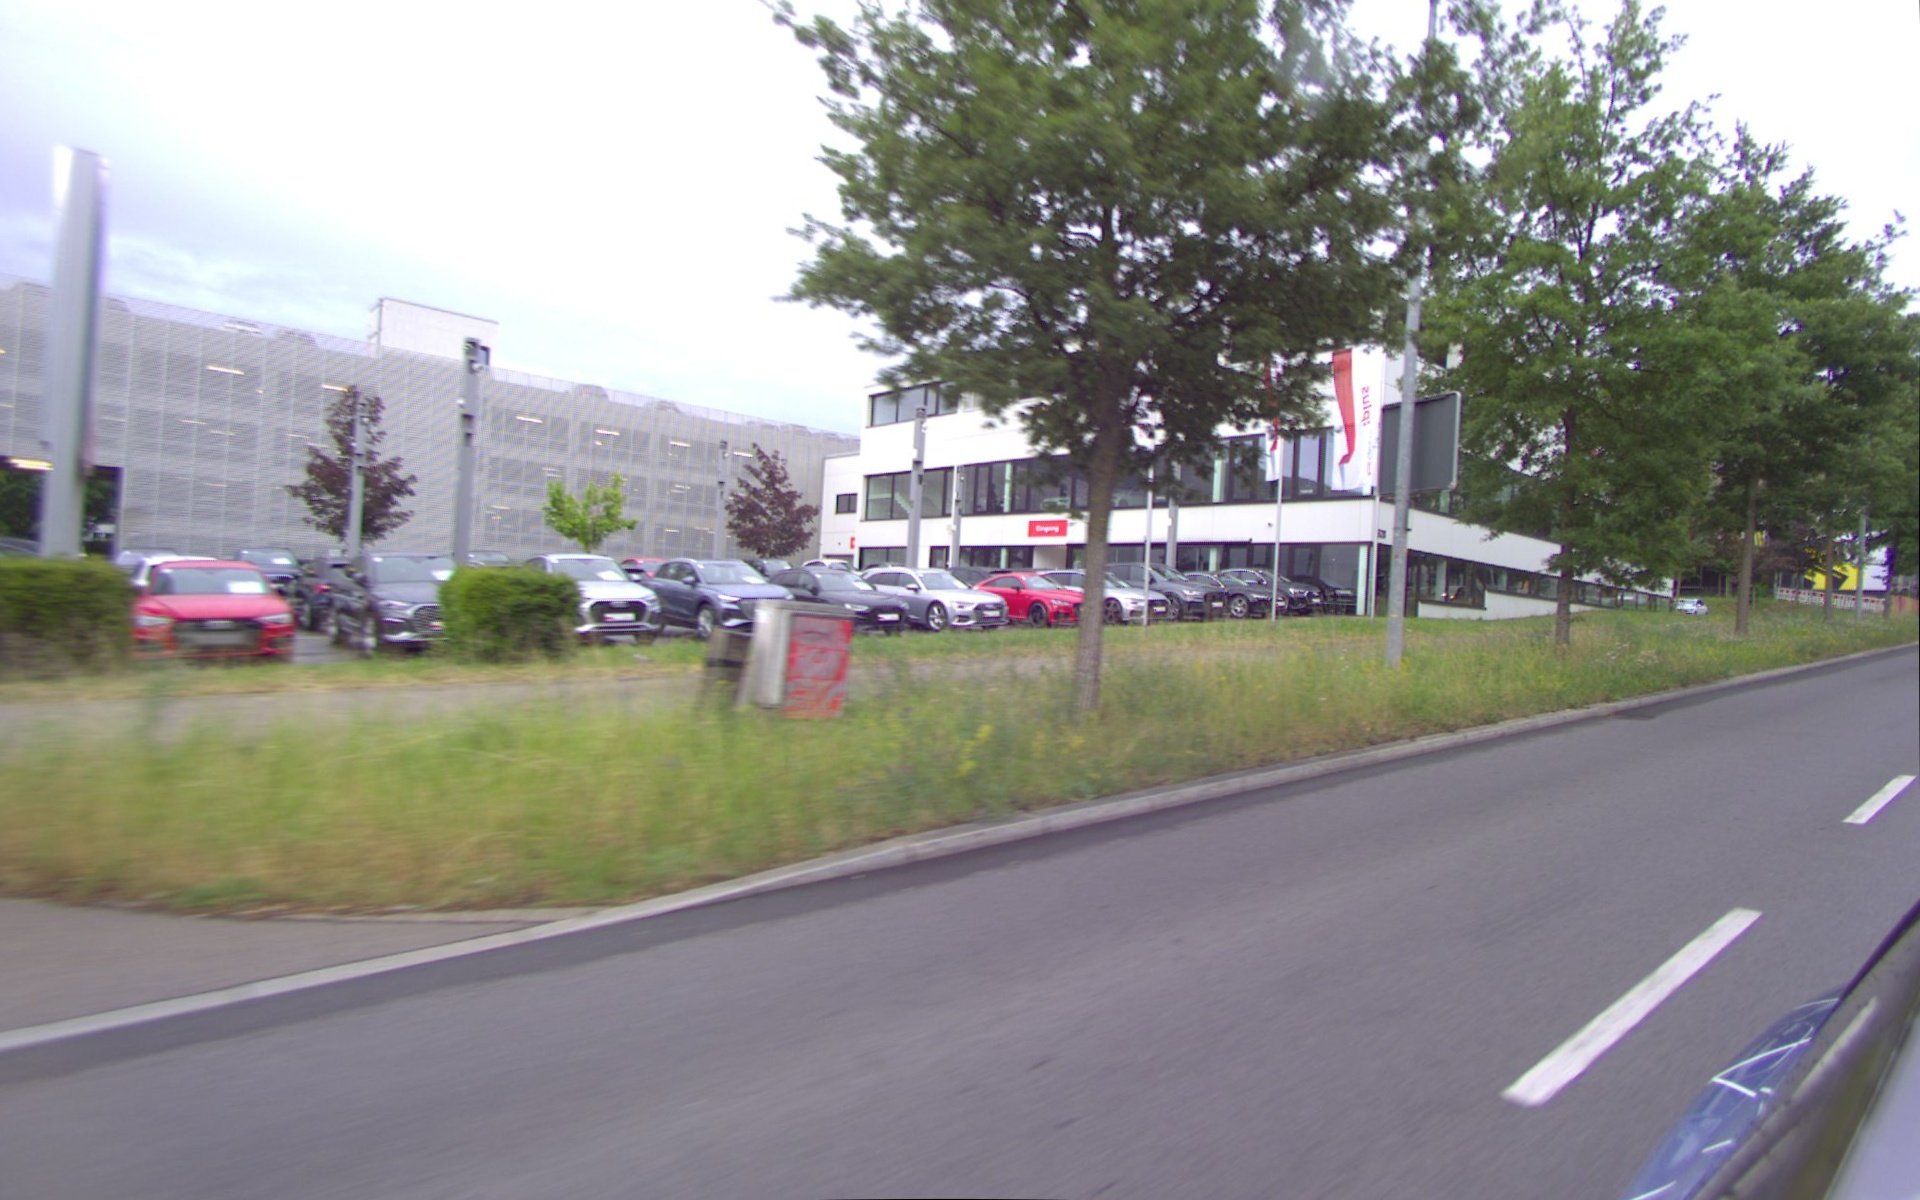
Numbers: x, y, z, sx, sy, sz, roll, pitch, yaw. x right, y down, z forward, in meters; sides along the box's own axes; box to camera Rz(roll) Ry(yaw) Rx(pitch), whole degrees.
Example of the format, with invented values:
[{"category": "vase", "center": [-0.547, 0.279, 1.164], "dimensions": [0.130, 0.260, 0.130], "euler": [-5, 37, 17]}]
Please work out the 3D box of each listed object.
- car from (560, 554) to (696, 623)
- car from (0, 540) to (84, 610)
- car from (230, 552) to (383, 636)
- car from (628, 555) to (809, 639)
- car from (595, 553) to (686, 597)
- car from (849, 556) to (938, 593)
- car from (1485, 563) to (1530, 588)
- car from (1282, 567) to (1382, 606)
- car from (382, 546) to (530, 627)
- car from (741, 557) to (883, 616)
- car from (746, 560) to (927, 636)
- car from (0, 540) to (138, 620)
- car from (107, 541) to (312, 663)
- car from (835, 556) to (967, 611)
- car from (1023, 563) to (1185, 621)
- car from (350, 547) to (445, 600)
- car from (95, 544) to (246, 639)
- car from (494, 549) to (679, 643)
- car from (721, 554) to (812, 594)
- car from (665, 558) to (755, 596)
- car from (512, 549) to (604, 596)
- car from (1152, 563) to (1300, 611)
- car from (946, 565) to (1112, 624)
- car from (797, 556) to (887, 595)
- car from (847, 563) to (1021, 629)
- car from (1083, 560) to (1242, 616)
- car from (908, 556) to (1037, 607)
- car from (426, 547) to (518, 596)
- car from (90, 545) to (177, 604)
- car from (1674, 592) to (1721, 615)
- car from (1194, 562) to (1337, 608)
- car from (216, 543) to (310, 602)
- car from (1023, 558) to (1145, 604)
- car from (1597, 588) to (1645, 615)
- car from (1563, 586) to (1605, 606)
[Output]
[{"category": "car", "center": [-8.386, -0.329, 25.331], "dimensions": [1.795, 1.570, 4.285], "euler": [-1, 2, -40]}, {"category": "car", "center": [-23.354, -0.614, 23.989], "dimensions": [1.749, 1.613, 3.542], "euler": [3, 2, 17]}, {"category": "car", "center": [-13.984, -0.206, 21.547], "dimensions": [1.900, 1.570, 4.465], "euler": [-1, 3, -44]}, {"category": "car", "center": [-5.173, -0.140, 21.261], "dimensions": [1.897, 1.547, 4.470], "euler": [-1, 3, -41]}, {"category": "car", "center": [-12.542, -0.985, 39.572], "dimensions": [1.796, 1.613, 4.283], "euler": [-1, 2, -42]}, {"category": "car", "center": [-3.096, -1.200, 46.416], "dimensions": [1.796, 1.613, 4.283], "euler": [-1, 2, -42]}, {"category": "car", "center": [39.609, -1.746, 73.167], "dimensions": [3.579, 1.697, 1.700], "euler": [-1, 0, -41]}, {"category": "car", "center": [13.824, -0.511, 37.550], "dimensions": [3.854, 1.355, 1.901], "euler": [-1, 2, -41]}, {"category": "car", "center": [-11.638, -0.370, 23.261], "dimensions": [1.967, 1.669, 3.991], "euler": [-1, 3, -44]}, {"category": "car", "center": [-4.317, -0.435, 28.984], "dimensions": [1.898, 1.570, 4.468], "euler": [-1, 2, -42]}, {"category": "car", "center": [-2.882, -0.112, 22.810], "dimensions": [1.897, 1.473, 4.471], "euler": [-1, 3, -41]}, {"category": "car", "center": [-20.333, -0.458, 21.931], "dimensions": [1.749, 1.613, 3.542], "euler": [3, 2, 17]}, {"category": "car", "center": [-11.412, -0.050, 15.262], "dimensions": [1.900, 1.570, 4.464], "euler": [-1, 2, -44]}, {"category": "car", "center": [-1.893, -0.548, 31.205], "dimensions": [1.796, 1.570, 4.283], "euler": [-1, 2, -42]}, {"category": "car", "center": [3.972, -0.280, 28.556], "dimensions": [1.857, 1.445, 4.407], "euler": [-1, 3, -40]}, {"category": "car", "center": [-18.304, -0.877, 32.856], "dimensions": [1.796, 1.613, 4.283], "euler": [-1, 2, -42]}, {"category": "car", "center": [-15.844, -0.248, 20.231], "dimensions": [1.900, 1.569, 4.466], "euler": [-1, 4, -44]}, {"category": "car", "center": [-7.262, -0.163, 19.403], "dimensions": [1.897, 1.570, 4.470], "euler": [-1, 3, -41]}, {"category": "car", "center": [-8.201, -1.122, 42.674], "dimensions": [1.796, 1.613, 4.283], "euler": [-1, 2, -42]}, {"category": "car", "center": [-10.279, -0.964, 41.404], "dimensions": [1.796, 1.486, 4.283], "euler": [-1, 2, -42]}, {"category": "car", "center": [-14.882, -1.022, 37.365], "dimensions": [1.796, 1.613, 4.283], "euler": [-1, 2, -42]}, {"category": "car", "center": [8.491, -0.454, 32.608], "dimensions": [1.806, 1.395, 4.326], "euler": [-1, 3, -42]}, {"category": "car", "center": [1.755, -0.212, 26.990], "dimensions": [1.897, 1.364, 4.407], "euler": [-1, 4, -41]}, {"category": "car", "center": [-5.181, -1.066, 44.084], "dimensions": [1.796, 1.613, 4.283], "euler": [-1, 2, -42]}, {"category": "car", "center": [-0.742, -0.159, 24.843], "dimensions": [1.897, 1.474, 4.470], "euler": [-1, 2, -41]}, {"category": "car", "center": [6.022, -0.419, 30.525], "dimensions": [2.004, 1.519, 4.407], "euler": [-1, 3, -40]}, {"category": "car", "center": [0.355, -0.629, 33.007], "dimensions": [1.796, 1.570, 4.283], "euler": [-1, 2, -42]}, {"category": "car", "center": [-17.121, -0.997, 35.412], "dimensions": [1.796, 1.613, 4.283], "euler": [-1, 2, -42]}, {"category": "car", "center": [-24.455, -0.758, 29.895], "dimensions": [1.796, 1.613, 4.283], "euler": [-1, 2, -42]}, {"category": "car", "center": [50.857, 0.238, 69.755], "dimensions": [4.384, 1.503, 1.700], "euler": [-1, 0, -41]}, {"category": "car", "center": [10.446, -0.558, 34.831], "dimensions": [1.897, 1.500, 4.406], "euler": [-1, 2, -41]}, {"category": "car", "center": [-20.778, -0.836, 30.102], "dimensions": [1.796, 1.613, 4.283], "euler": [-1, 2, -42]}, {"category": "car", "center": [4.420, -0.704, 36.629], "dimensions": [1.796, 1.570, 4.283], "euler": [-1, 2, -42]}, {"category": "car", "center": [43.946, 0.066, 67.270], "dimensions": [3.579, 1.696, 1.701], "euler": [-1, 4, -41]}, {"category": "car", "center": [46.743, -0.313, 75.767], "dimensions": [3.579, 1.503, 1.700], "euler": [-1, 0, -41]}]
